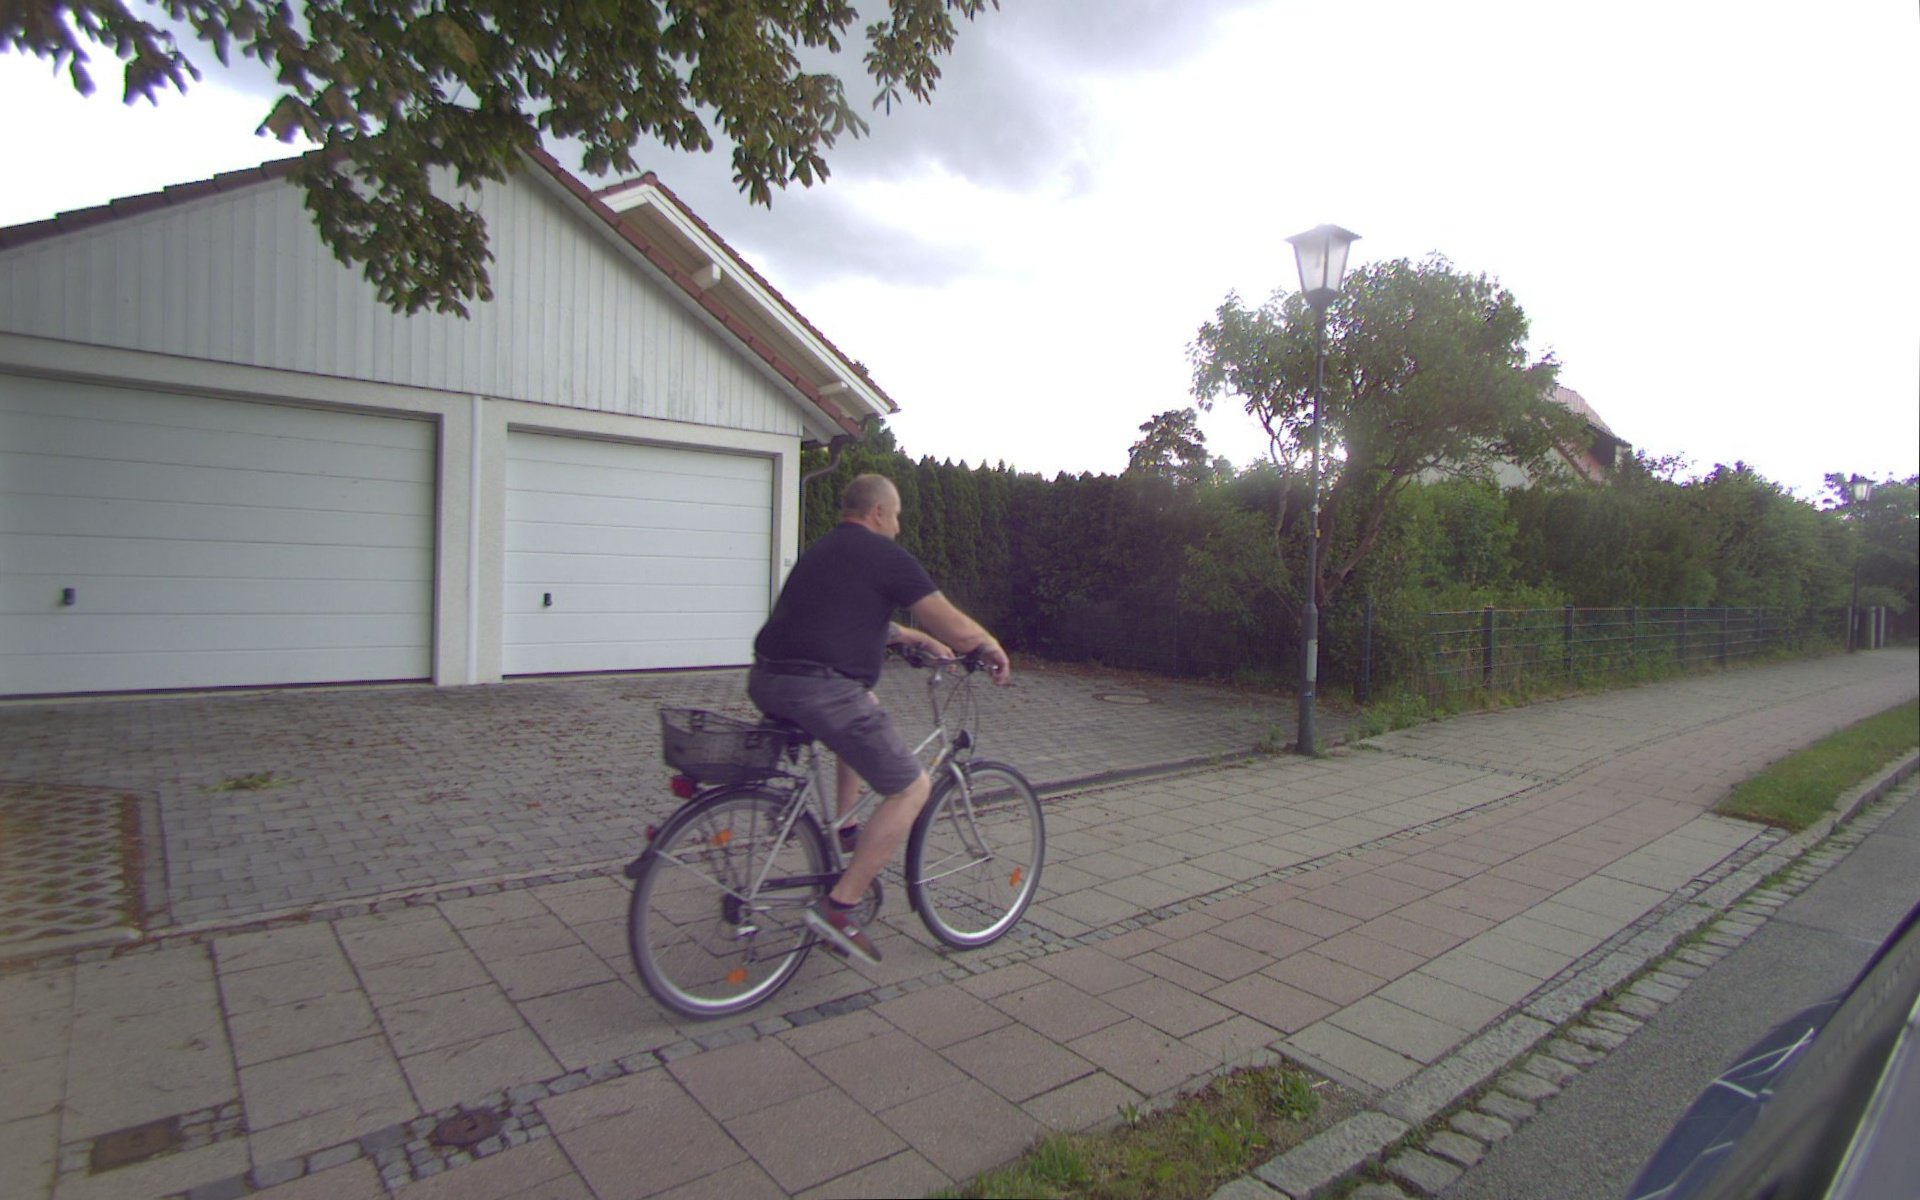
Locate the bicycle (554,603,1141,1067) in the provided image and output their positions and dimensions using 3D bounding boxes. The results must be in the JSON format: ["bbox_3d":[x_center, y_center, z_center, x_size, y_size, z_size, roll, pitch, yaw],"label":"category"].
[{"bbox_3d":[-0.301,0.648,3.447,1.811,1.158,0.766,4,-2,-39],"label":"bicycle"}]

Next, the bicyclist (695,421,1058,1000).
[{"bbox_3d":[-0.285,0.332,3.459,0.874,1.653,0.738,5,-3,-37],"label":"bicyclist"}]
